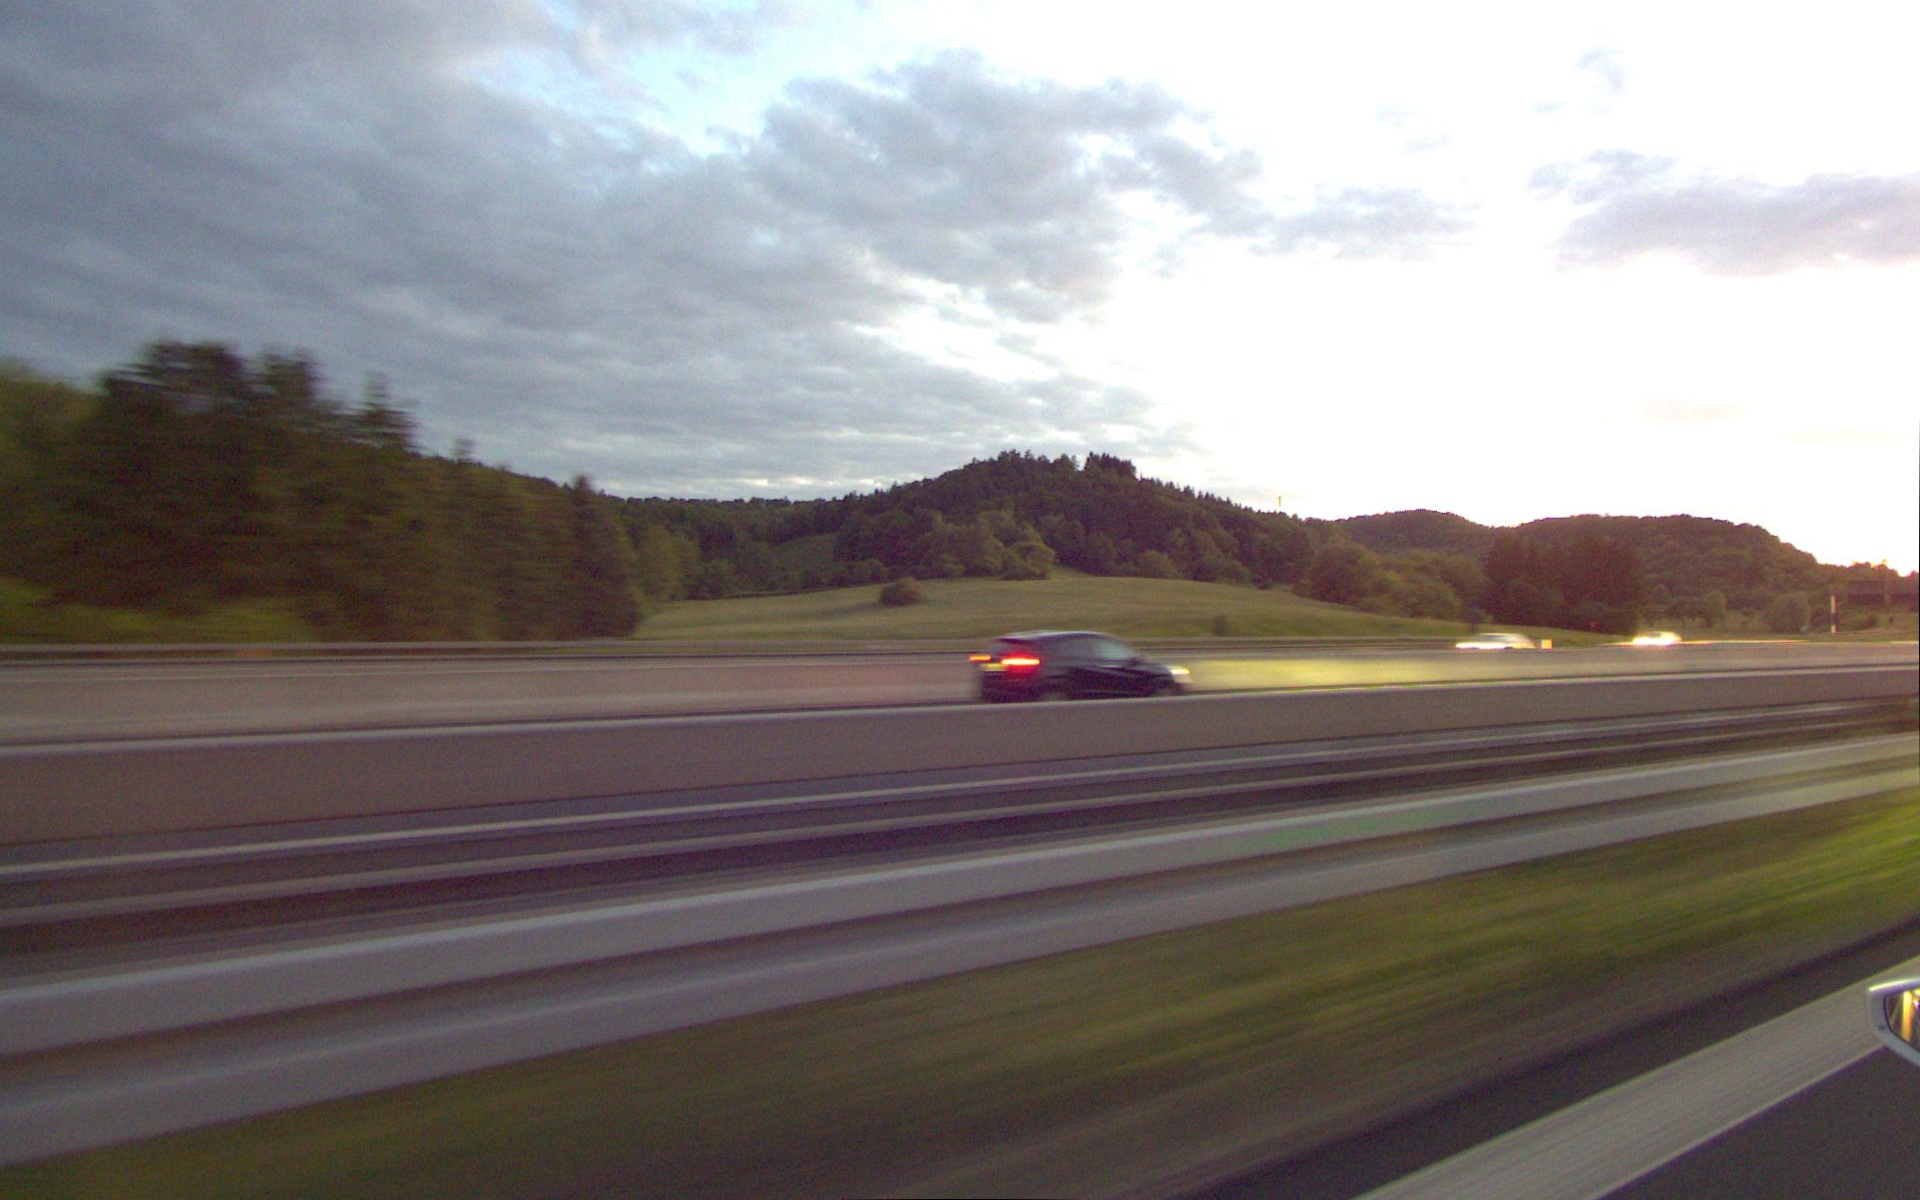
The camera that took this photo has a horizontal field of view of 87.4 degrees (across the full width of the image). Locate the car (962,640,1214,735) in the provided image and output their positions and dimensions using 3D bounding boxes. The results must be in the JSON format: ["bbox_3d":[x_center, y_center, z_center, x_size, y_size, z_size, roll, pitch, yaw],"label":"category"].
[{"bbox_3d":[2.416,1.547,18.625,4.467,1.582,1.863,2,-2,-30],"label":"car"}]

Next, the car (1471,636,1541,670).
[{"bbox_3d":[34.161,3.325,62.803,4.685,2.040,1.981,2,-3,-35],"label":"car"}]

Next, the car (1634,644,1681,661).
[{"bbox_3d":[56.353,4.266,81.184,3.850,1.336,1.758,2,-3,-32],"label":"car"}]
